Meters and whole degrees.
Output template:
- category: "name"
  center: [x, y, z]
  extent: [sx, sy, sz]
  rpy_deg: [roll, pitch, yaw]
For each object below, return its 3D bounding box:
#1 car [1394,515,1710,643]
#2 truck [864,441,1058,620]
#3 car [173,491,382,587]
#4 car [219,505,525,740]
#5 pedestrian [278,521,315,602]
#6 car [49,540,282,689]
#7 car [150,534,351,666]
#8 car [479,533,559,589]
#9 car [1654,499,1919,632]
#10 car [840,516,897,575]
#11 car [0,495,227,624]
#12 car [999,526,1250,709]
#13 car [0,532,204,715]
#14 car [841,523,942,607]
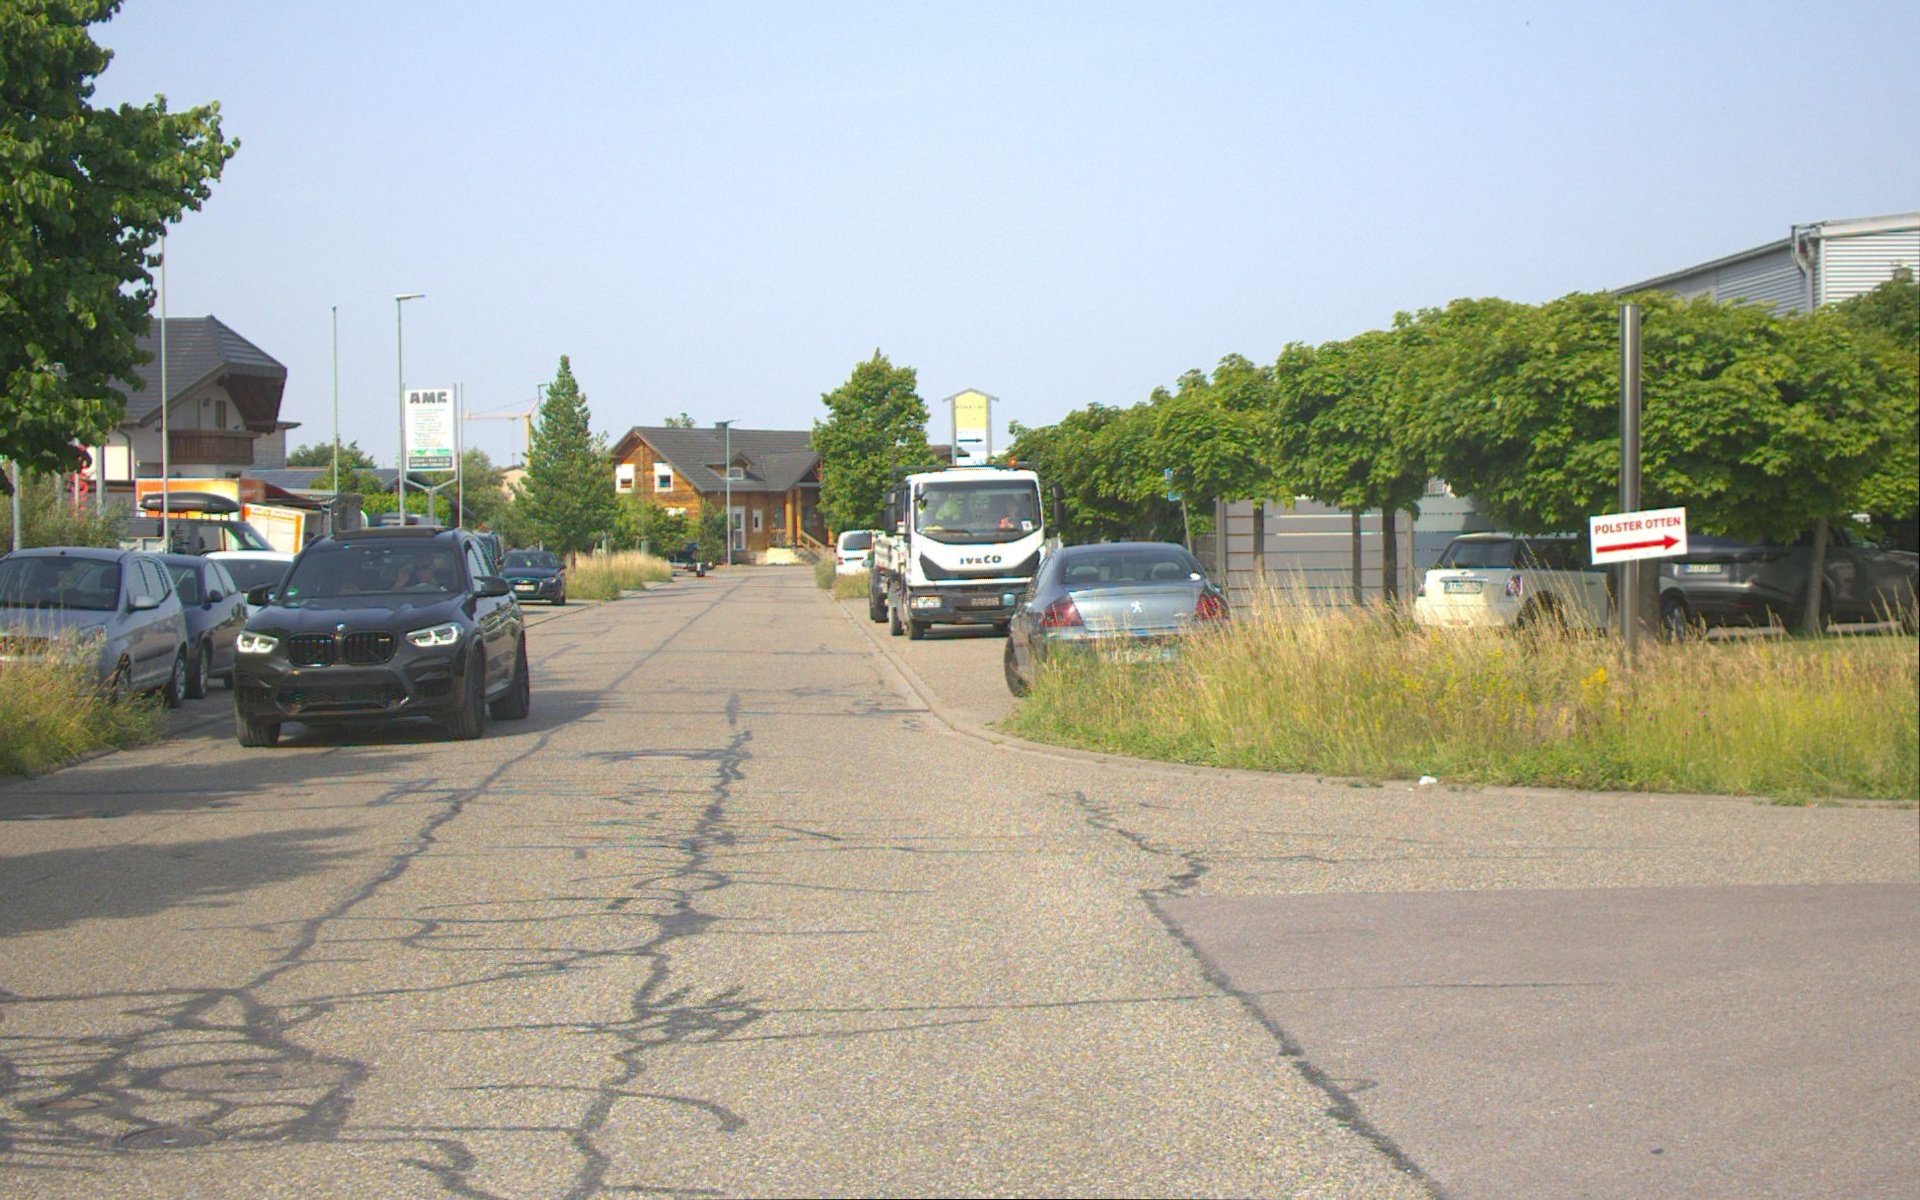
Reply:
- category: "car"
  center: [6.912, -0.273, 39.975]
  extent: [3.687, 1.375, 1.687]
  rpy_deg: [-2, 2, -42]
- category: "truck"
  center: [-0.066, -1.104, 54.810]
  extent: [2.358, 2.672, 6.512]
  rpy_deg: [-1, 1, -6]
- category: "car"
  center: [-19.389, -1.739, 97.716]
  extent: [5.161, 2.577, 2.575]
  rpy_deg: [-1, 1, 18]
- category: "car"
  center: [-4.703, 0.125, 28.072]
  extent: [1.856, 1.709, 4.227]
  rpy_deg: [-2, 1, -2]
- category: "pedestrian"
  center: [-14.221, -0.832, 73.684]
  extent: [0.562, 1.709, 0.534]
  rpy_deg: [-2, 1, -40]
- category: "car"
  center: [-8.222, 0.112, 35.868]
  extent: [1.578, 1.438, 3.963]
  rpy_deg: [1, 1, -1]
- category: "car"
  center: [-8.408, -0.036, 41.040]
  extent: [1.683, 1.464, 4.254]
  rpy_deg: [1, 1, -3]
- category: "car"
  center: [-11.499, -1.028, 89.829]
  extent: [1.799, 1.382, 3.639]
  rpy_deg: [1, 1, -3]
- category: "car"
  center: [10.694, -0.466, 43.367]
  extent: [1.686, 1.583, 4.522]
  rpy_deg: [0, 1, 43]
- category: "car"
  center: [-3.126, -1.867, 116.831]
  extent: [1.837, 1.917, 3.757]
  rpy_deg: [-1, 1, -3]
- category: "car"
  center: [-16.710, -0.788, 66.453]
  extent: [4.626, 2.408, 2.000]
  rpy_deg: [-1, 1, 0]
- category: "car"
  center: [1.406, 0.101, 30.989]
  extent: [1.794, 1.512, 4.425]
  rpy_deg: [-1, 1, -3]
- category: "car"
  center: [-8.046, 0.165, 31.185]
  extent: [1.566, 1.533, 3.688]
  rpy_deg: [1, 1, 0]
- category: "car"
  center: [-1.345, -0.698, 66.098]
  extent: [1.794, 1.555, 4.001]
  rpy_deg: [-1, 1, -3]
